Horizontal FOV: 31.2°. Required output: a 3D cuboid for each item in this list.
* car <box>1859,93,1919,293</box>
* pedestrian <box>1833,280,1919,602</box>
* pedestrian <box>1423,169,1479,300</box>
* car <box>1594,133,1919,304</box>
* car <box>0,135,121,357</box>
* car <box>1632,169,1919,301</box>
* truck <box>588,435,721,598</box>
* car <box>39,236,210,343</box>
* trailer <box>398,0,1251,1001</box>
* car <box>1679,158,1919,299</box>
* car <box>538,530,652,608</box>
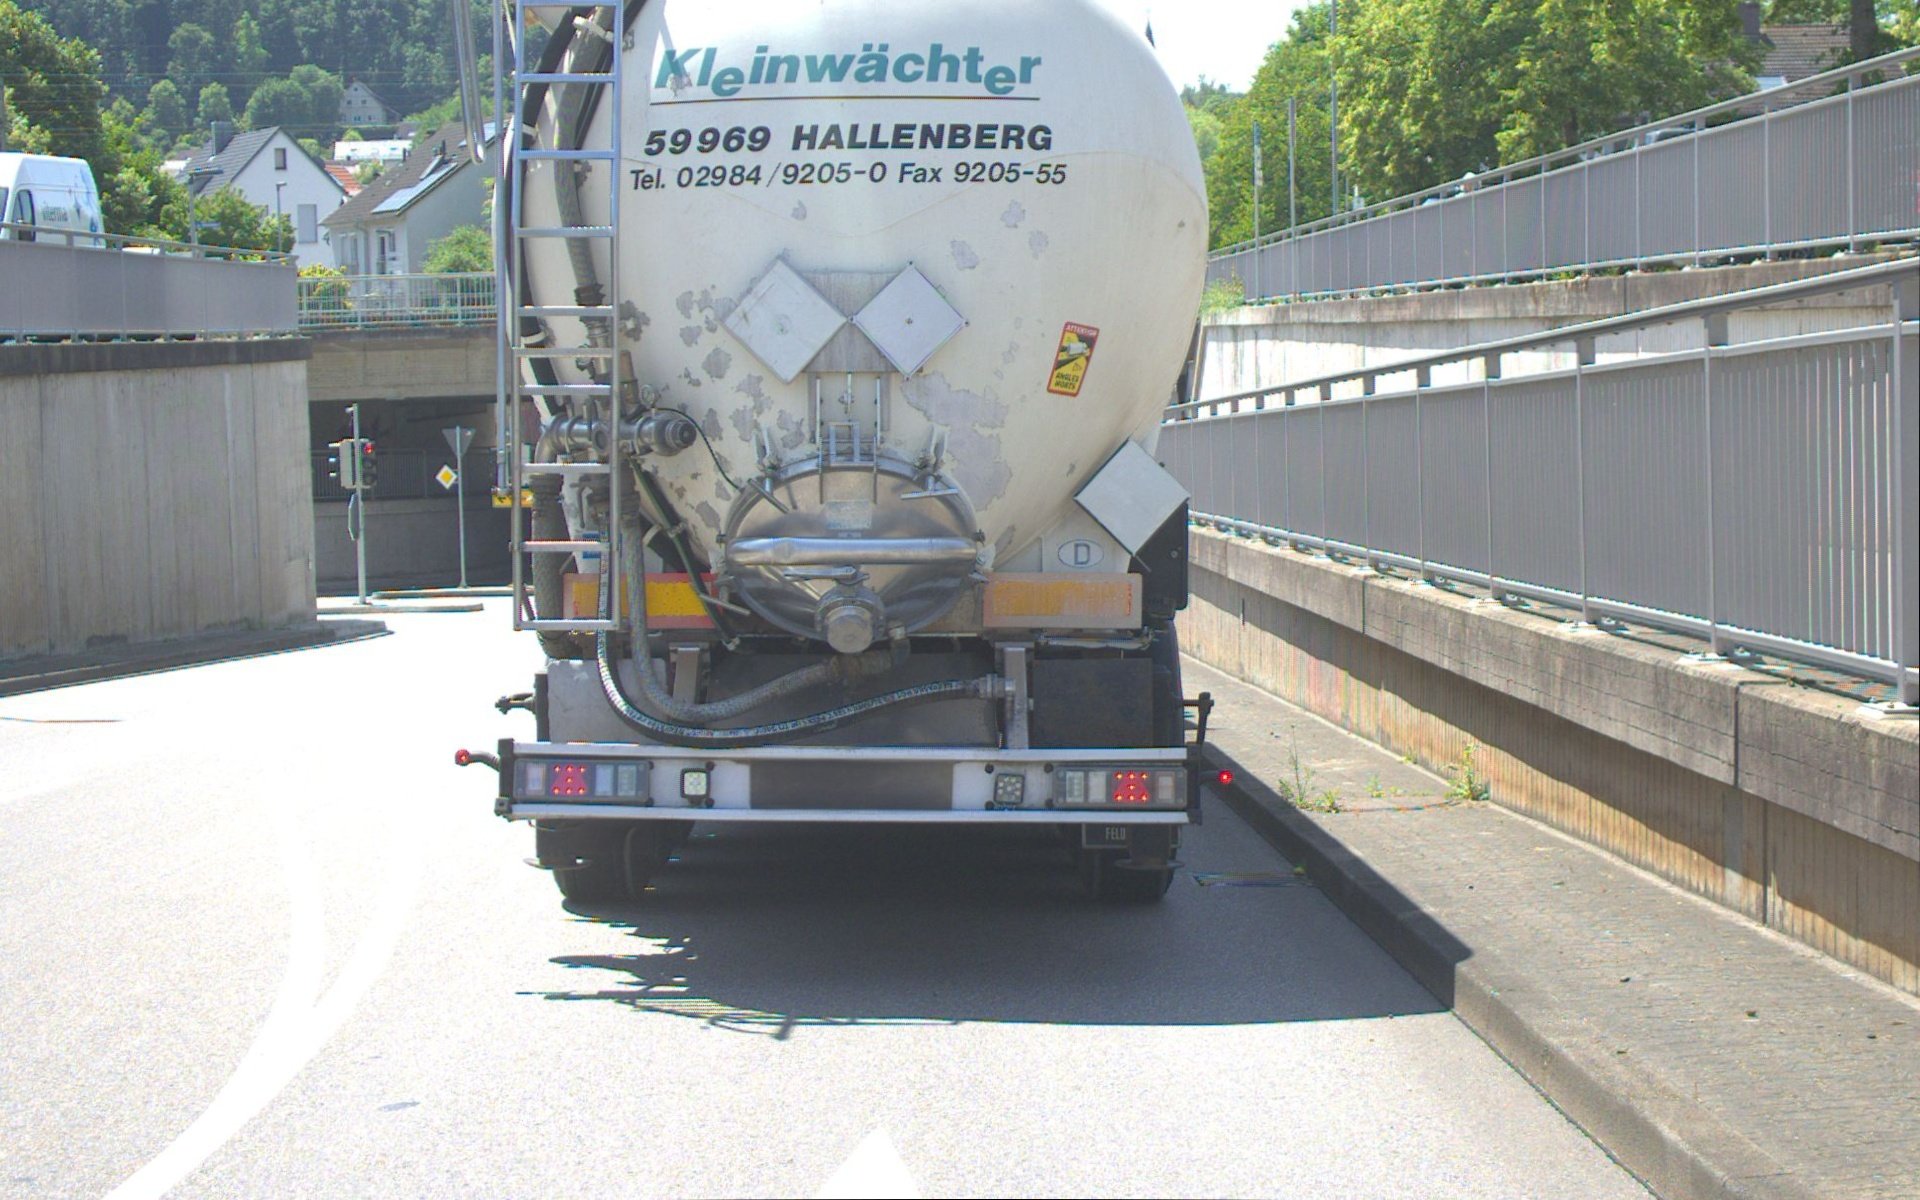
[{"bbox_3d":[9.832,-3.422,28.713,4.204,1.590,1.686,-1,4,1],"label":"car"},{"bbox_3d":[5.467,-0.899,19.431,0.836,1.775,0.788,-1,2,0],"label":"pedestrian"},{"bbox_3d":[6.812,-5.069,47.722,0.673,1.773,0.594,-1,4,1],"label":"pedestrian"},{"bbox_3d":[9.641,-4.514,40.855,3.905,1.878,1.686,-1,4,1],"label":"car"},{"bbox_3d":[-11.926,-4.225,41.632,2.065,2.527,5.663,1,4,1],"label":"car"},{"bbox_3d":[9.626,-4.076,38.431,3.905,1.362,1.686,-1,4,1],"label":"car"},{"bbox_3d":[-7.435,-2.024,84.411,2.662,3.847,6.580,0,1,0],"label":"truck"},{"bbox_3d":[-12.317,-4.563,50.910,1.618,1.495,4.046,0,4,-1],"label":"car"},{"bbox_3d":[-0.379,-0.893,17.687,2.735,4.050,13.313,0,1,1],"label":"trailer"},{"bbox_3d":[9.651,-3.890,35.995,3.905,1.362,1.686,-1,4,1],"label":"car"},{"bbox_3d":[-7.173,-0.635,67.923,1.760,1.484,4.369,0,1,0],"label":"car"}]
